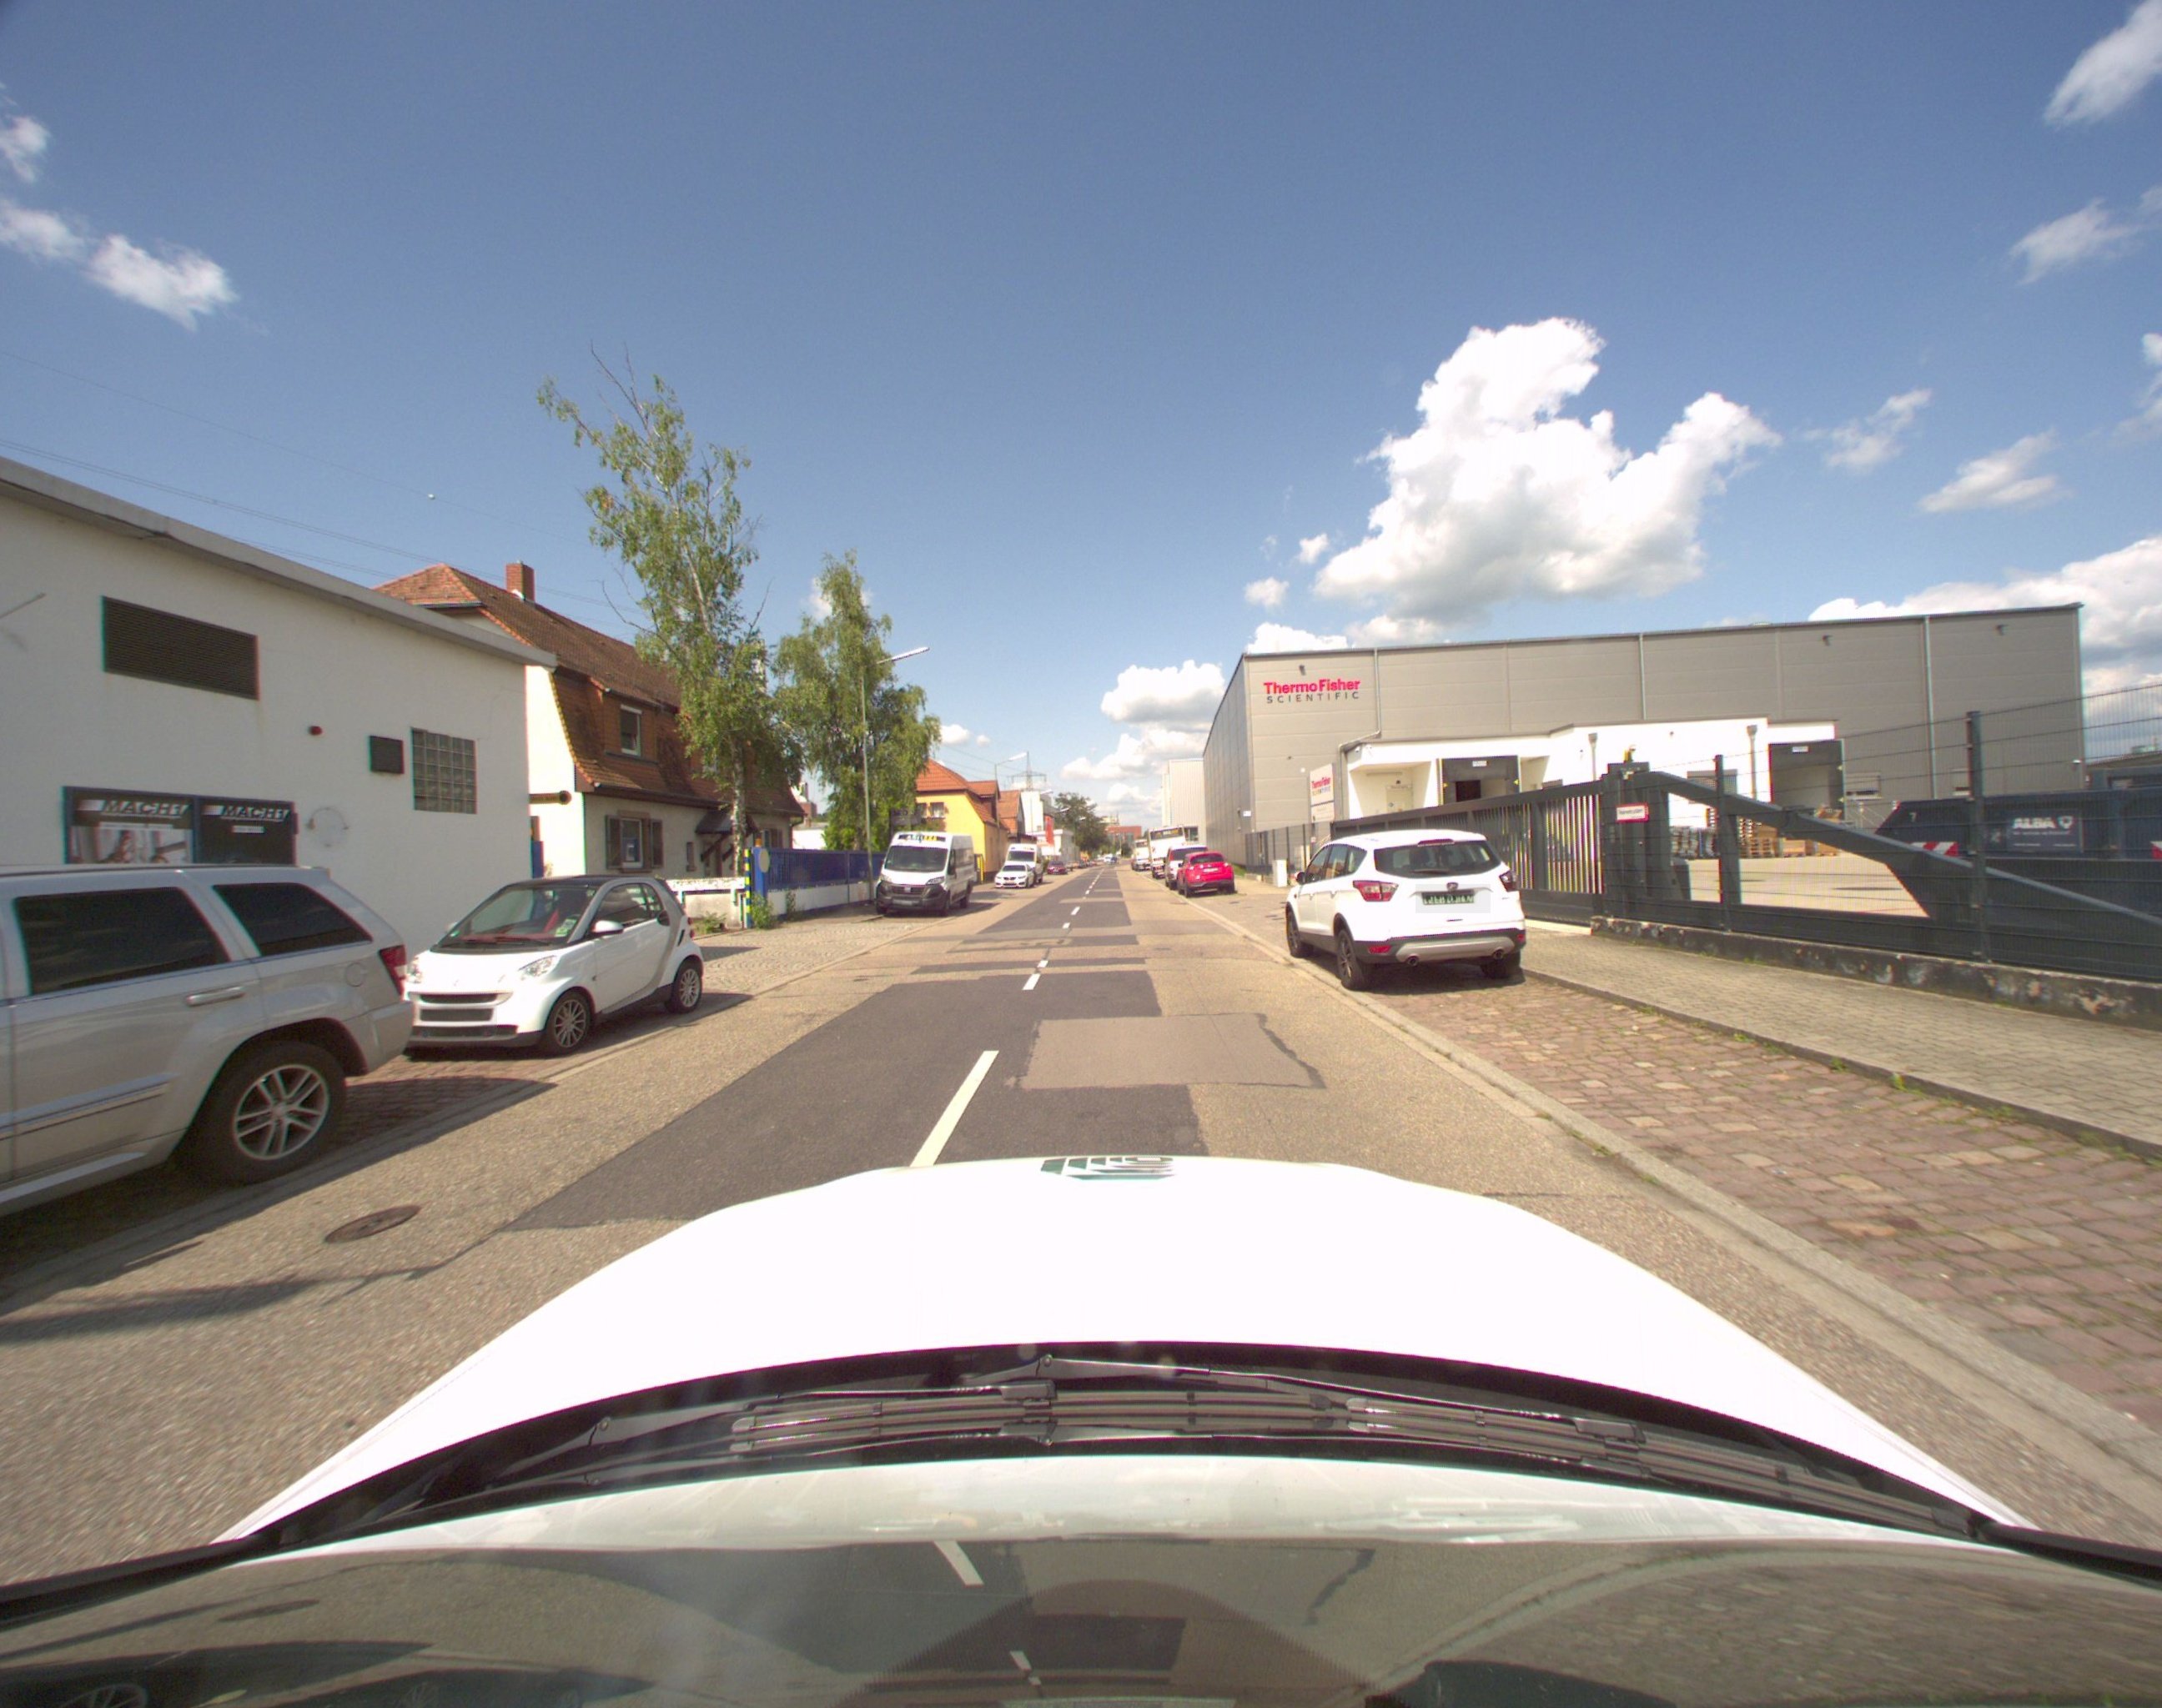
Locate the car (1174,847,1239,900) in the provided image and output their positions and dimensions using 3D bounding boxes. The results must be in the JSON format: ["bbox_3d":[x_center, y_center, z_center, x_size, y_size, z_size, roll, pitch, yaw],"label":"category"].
[{"bbox_3d":[4.536,0.691,29.863,1.698,1.624,4.094,-6,-1,1],"label":"car"}]

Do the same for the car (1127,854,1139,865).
[{"bbox_3d":[8.940,1.006,139.580,1.931,1.742,4.382,-3,-1,5],"label":"car"}]

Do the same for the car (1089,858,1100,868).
[{"bbox_3d":[2.757,1.781,163.325,1.913,1.794,4.005,-1,-1,5],"label":"car"}]

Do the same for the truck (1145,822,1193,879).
[{"bbox_3d":[5.785,-0.209,54.444,2.449,3.293,6.822,-7,-1,3],"label":"truck"}]

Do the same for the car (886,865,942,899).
[{"bbox_3d":[-9.140,1.493,44.835,1.857,1.463,4.148,-4,1,4],"label":"car"}]

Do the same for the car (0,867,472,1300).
[{"bbox_3d":[-5.252,0.942,3.345,1.784,1.719,4.754,0,0,2],"label":"car"}]

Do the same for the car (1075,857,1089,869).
[{"bbox_3d":[0.154,1.539,139.916,1.984,2.014,4.005,-1,-1,5],"label":"car"}]

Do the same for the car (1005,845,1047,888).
[{"bbox_3d":[-3.486,0.797,53.035,2.019,2.561,6.841,-1,-1,1],"label":"car"}]

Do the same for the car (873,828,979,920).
[{"bbox_3d":[-4.726,0.592,25.987,2.023,2.558,6.657,0,-1,0],"label":"car"}]

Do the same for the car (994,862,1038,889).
[{"bbox_3d":[-3.578,1.184,45.717,1.788,1.397,4.505,-1,-1,3],"label":"car"}]

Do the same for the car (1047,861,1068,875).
[{"bbox_3d":[-2.435,1.424,84.664,1.755,1.447,4.744,-1,-1,3],"label":"car"}]

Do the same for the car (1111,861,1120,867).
[{"bbox_3d":[8.000,2.263,187.838,1.911,1.285,3.616,-3,0,2],"label":"car"}]

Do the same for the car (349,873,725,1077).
[{"bbox_3d":[-5.158,1.024,8.225,1.602,1.574,3.012,1,0,4],"label":"car"}]

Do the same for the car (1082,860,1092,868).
[{"bbox_3d":[1.148,1.835,145.400,1.662,1.447,3.456,-1,-1,3],"label":"car"}]

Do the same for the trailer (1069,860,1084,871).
[{"bbox_3d":[-0.622,1.799,124.351,1.986,1.556,4.255,-2,0,2],"label":"trailer"}]

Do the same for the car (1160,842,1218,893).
[{"bbox_3d":[4.783,0.571,36.856,2.045,1.903,5.151,-6,-1,3],"label":"car"}]

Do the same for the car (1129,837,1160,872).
[{"bbox_3d":[6.577,0.104,85.613,2.381,3.362,6.642,-6,-1,-1],"label":"car"}]

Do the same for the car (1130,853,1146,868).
[{"bbox_3d":[6.861,0.768,98.076,1.761,1.612,3.876,-3,-1,3],"label":"car"}]

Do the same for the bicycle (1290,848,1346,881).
[{"bbox_3d":[9.174,0.395,31.556,1.941,1.143,0.458,-4,-1,4],"label":"bicycle"}]

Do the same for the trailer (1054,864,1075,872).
[{"bbox_3d":[-2.062,1.785,103.348,2.353,0.893,5.572,-1,-1,2],"label":"trailer"}]

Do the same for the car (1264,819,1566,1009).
[{"bbox_3d":[3.811,0.591,10.361,1.928,1.693,4.682,-5,0,2],"label":"car"}]
